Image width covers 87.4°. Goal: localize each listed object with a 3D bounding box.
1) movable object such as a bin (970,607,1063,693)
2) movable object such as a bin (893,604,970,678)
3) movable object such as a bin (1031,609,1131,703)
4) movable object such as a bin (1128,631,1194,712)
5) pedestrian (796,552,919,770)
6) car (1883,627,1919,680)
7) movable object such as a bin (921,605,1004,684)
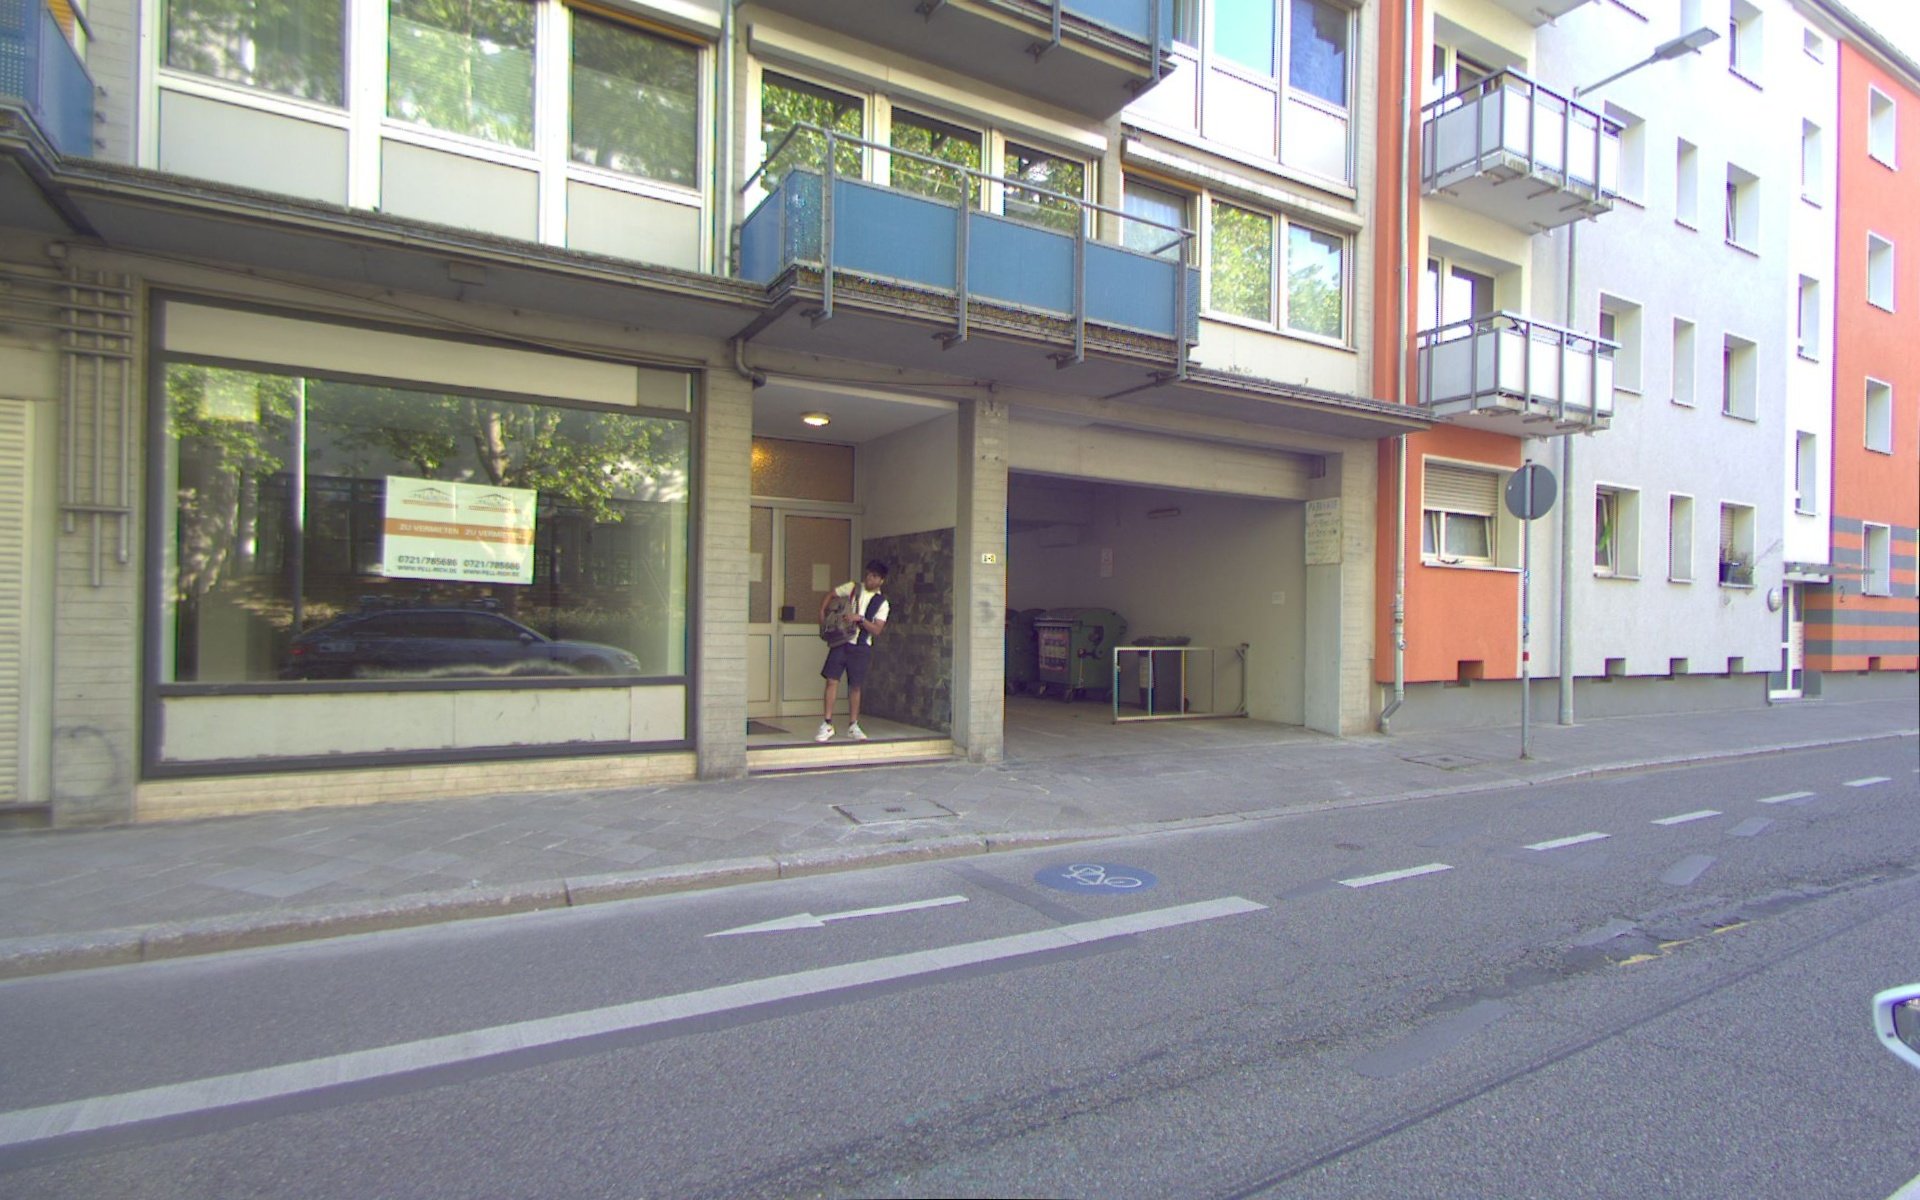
[{"bbox_3d":[0.947,0.830,17.130,1.066,1.384,1.255,2,0,-27],"label":"movable object such as a bin"},{"bbox_3d":[-0.572,0.794,19.868,1.066,1.384,1.255,2,0,-27],"label":"movable object such as a bin"},{"bbox_3d":[1.889,0.853,15.815,1.066,1.384,1.192,2,0,-27],"label":"movable object such as a bin"},{"bbox_3d":[2.890,1.013,14.465,0.650,1.115,0.626,2,0,-27],"label":"movable object such as a bin"},{"bbox_3d":[-0.948,0.541,9.258,0.882,1.902,0.703,2,0,-28],"label":"pedestrian"},{"bbox_3d":[30.876,1.705,30.335,1.839,1.595,4.096,2,0,-34],"label":"car"},{"bbox_3d":[0.037,0.808,18.699,1.066,1.384,1.255,2,0,-27],"label":"movable object such as a bin"}]
